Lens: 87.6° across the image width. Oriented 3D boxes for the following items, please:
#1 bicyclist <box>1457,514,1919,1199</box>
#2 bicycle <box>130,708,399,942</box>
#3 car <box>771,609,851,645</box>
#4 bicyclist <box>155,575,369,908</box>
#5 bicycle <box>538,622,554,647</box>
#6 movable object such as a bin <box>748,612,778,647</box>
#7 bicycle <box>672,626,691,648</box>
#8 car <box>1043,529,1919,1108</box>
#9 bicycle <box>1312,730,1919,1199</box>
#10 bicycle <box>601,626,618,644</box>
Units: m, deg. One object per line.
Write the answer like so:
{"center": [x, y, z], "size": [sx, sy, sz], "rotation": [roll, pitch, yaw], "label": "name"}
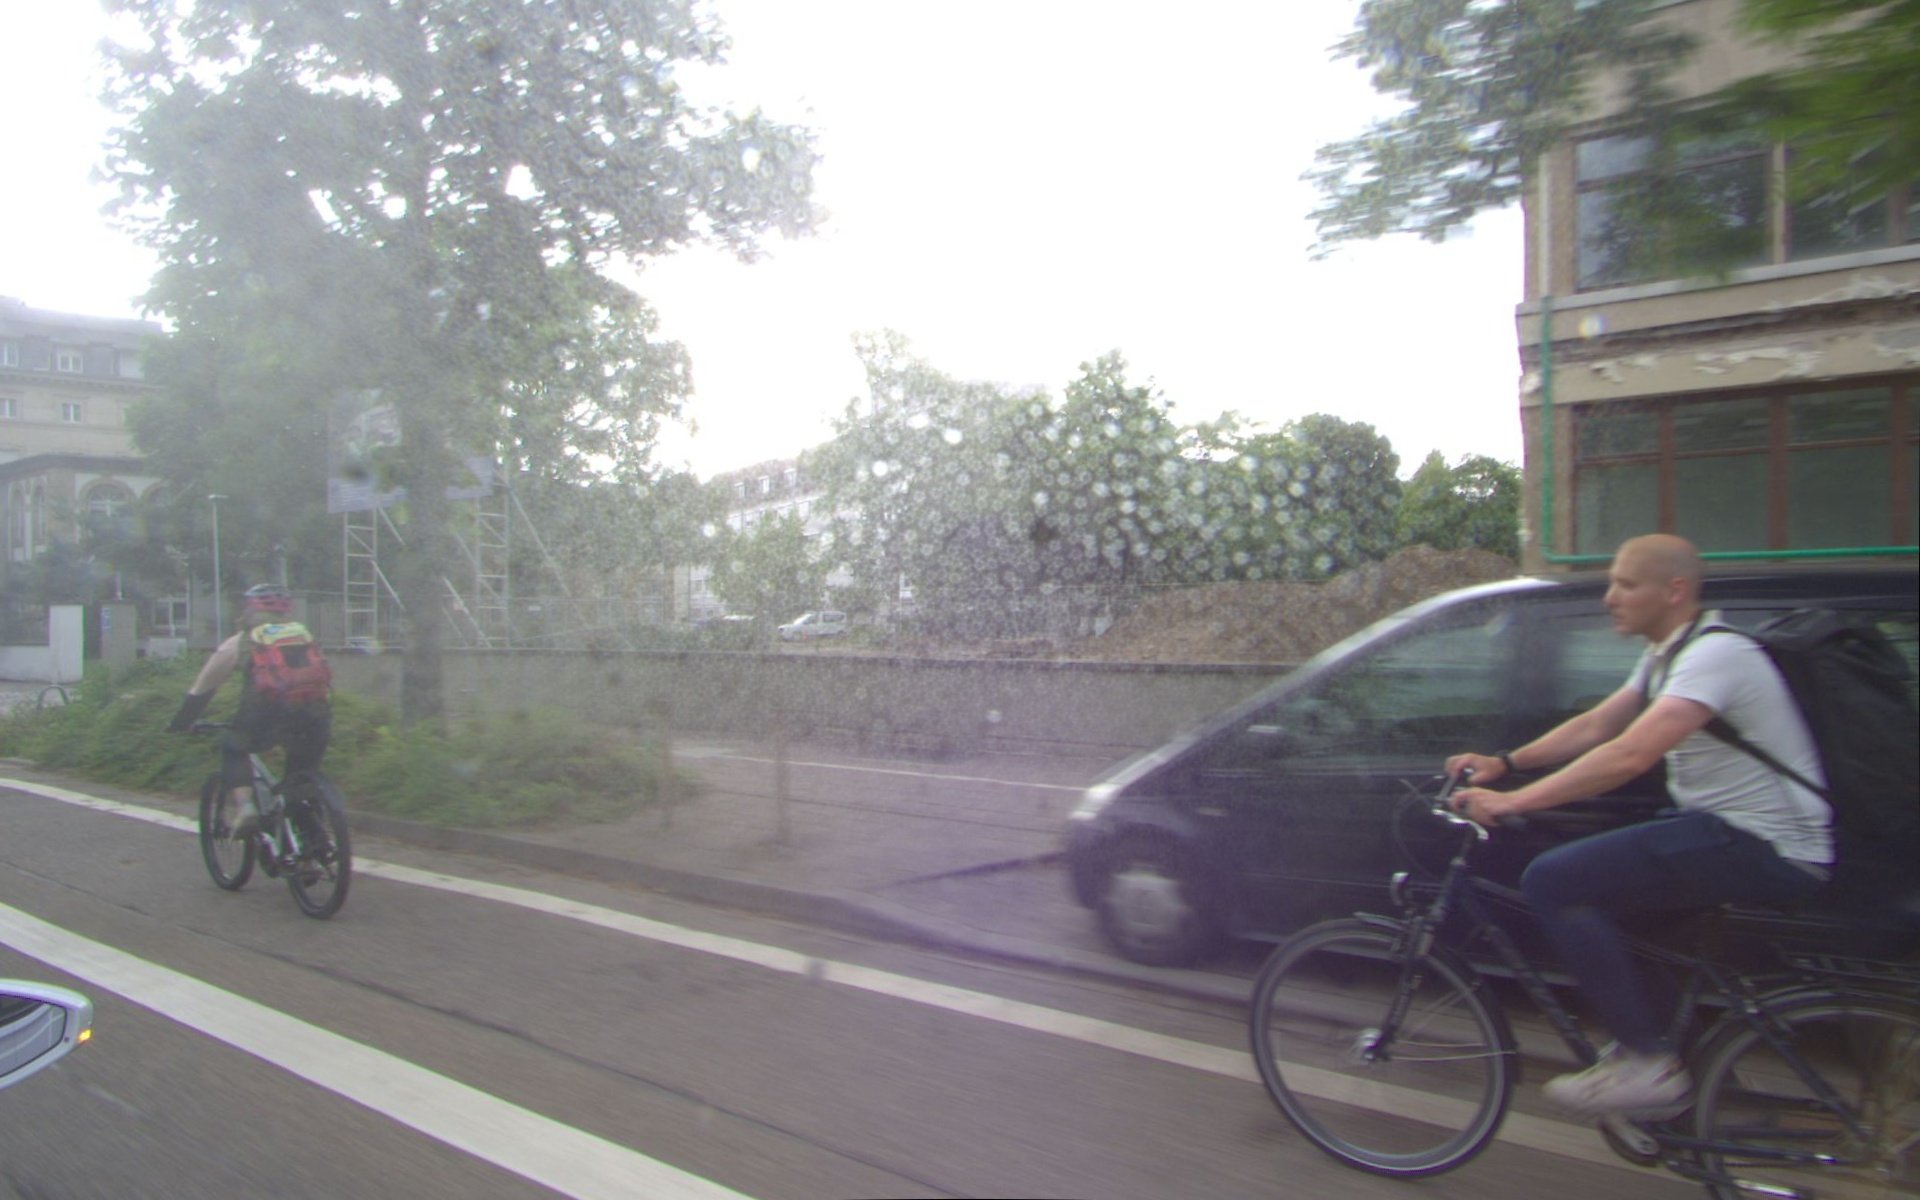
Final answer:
{"center": [1.781, 0.637, 2.444], "size": [0.971, 1.590, 0.661], "rotation": [0, -1, 31], "label": "bicyclist"}
{"center": [-3.886, 1.155, 5.532], "size": [2.028, 0.992, 0.488], "rotation": [-1, -1, 33], "label": "bicycle"}
{"center": [-8.708, 1.585, 58.555], "size": [4.298, 2.039, 1.842], "rotation": [1, -2, -36], "label": "car"}
{"center": [-3.774, 0.702, 5.419], "size": [0.907, 1.631, 0.656], "rotation": [0, 0, 33], "label": "bicyclist"}
{"center": [-19.709, 1.644, 47.698], "size": [0.609, 1.134, 2.213], "rotation": [0, -1, -25], "label": "bicycle"}
{"center": [-8.694, 1.287, 44.138], "size": [1.039, 1.470, 1.350], "rotation": [0, 1, -23], "label": "movable object such as a bin"}
{"center": [-14.188, 1.892, 51.020], "size": [0.391, 1.079, 1.817], "rotation": [0, -1, -33], "label": "bicycle"}
{"center": [2.540, 0.739, 4.449], "size": [4.025, 1.835, 1.651], "rotation": [-2, -2, 31], "label": "car"}
{"center": [1.866, 0.956, 2.400], "size": [1.838, 1.131, 0.663], "rotation": [0, -2, 30], "label": "bicycle"}
{"center": [-17.232, 1.712, 49.162], "size": [0.609, 0.824, 1.937], "rotation": [0, -1, -25], "label": "bicycle"}
